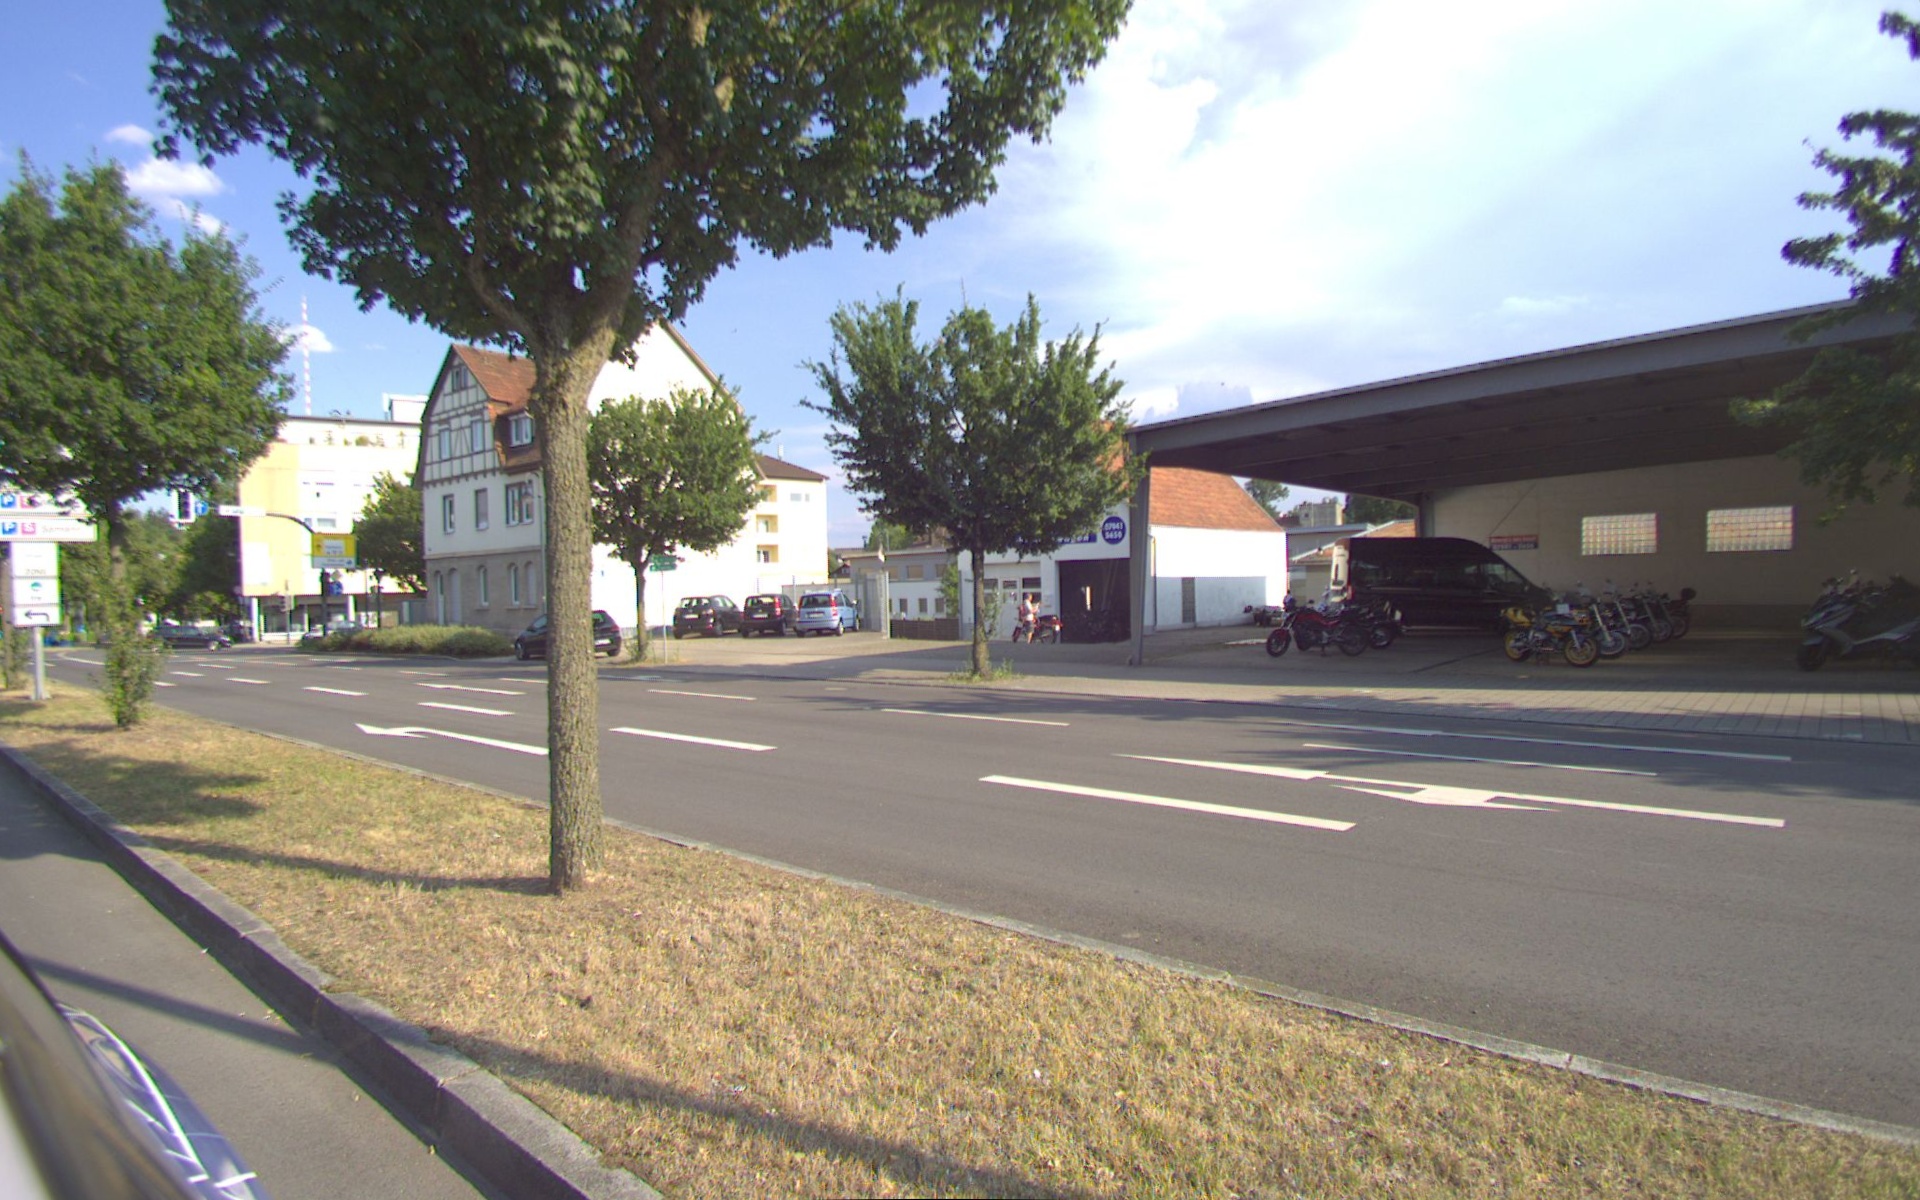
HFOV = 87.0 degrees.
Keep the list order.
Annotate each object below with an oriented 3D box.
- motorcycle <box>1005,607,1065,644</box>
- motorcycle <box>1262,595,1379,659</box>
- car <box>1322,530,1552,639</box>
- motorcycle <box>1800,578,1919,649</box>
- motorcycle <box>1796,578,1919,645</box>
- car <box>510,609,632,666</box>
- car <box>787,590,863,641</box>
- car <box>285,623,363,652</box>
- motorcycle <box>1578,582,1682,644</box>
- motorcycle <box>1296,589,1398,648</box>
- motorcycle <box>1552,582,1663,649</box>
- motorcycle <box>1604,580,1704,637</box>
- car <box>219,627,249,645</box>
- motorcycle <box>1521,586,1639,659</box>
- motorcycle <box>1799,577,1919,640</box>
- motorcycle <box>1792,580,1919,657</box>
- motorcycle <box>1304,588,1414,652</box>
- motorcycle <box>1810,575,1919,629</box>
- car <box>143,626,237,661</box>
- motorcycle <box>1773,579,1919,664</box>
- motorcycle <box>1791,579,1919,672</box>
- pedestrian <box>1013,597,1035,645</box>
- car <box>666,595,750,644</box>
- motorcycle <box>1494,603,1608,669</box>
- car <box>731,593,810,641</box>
[{"bbox_3d":[2.442,0.831,33.203,1.974,1.194,0.577,-1,0,41],"label":"motorcycle"},{"bbox_3d":[7.505,0.556,21.153,2.202,1.290,0.629,-1,0,11],"label":"motorcycle"},{"bbox_3d":[12.874,-0.387,27.621,5.221,2.773,1.996,-1,0,7],"label":"car"},{"bbox_3d":[18.054,0.262,19.982,2.103,1.306,0.628,-3,-1,17],"label":"motorcycle"},{"bbox_3d":[19.043,0.248,21.283,2.103,1.306,0.628,-3,-1,17],"label":"motorcycle"},{"bbox_3d":[-11.592,1.078,30.068,3.823,1.462,1.795,-1,2,42],"label":"car"},{"bbox_3d":[-4.674,0.513,35.669,1.797,1.512,3.819,-3,2,5],"label":"car"},{"bbox_3d":[-39.088,2.262,62.180,3.934,1.644,1.865,-1,0,-36],"label":"car"},{"bbox_3d":[15.546,0.293,23.573,0.621,1.347,2.269,-1,0,-9],"label":"motorcycle"},{"bbox_3d":[9.388,0.445,24.601,2.198,1.372,0.630,-1,0,5],"label":"motorcycle"},{"bbox_3d":[13.873,0.317,21.763,0.621,1.347,2.269,-1,0,-9],"label":"motorcycle"},{"bbox_3d":[17.299,0.210,25.297,0.621,1.347,2.269,-1,0,-9],"label":"motorcycle"},{"bbox_3d":[-75.782,3.759,105.642,1.752,1.706,4.013,-1,0,-24],"label":"car"},{"bbox_3d":[12.167,0.431,19.949,0.621,1.347,2.269,-1,0,-9],"label":"motorcycle"},{"bbox_3d":[20.237,0.197,22.638,2.103,1.306,0.628,-3,-1,17],"label":"motorcycle"},{"bbox_3d":[16.540,0.333,18.342,2.103,1.306,0.628,-3,-1,17],"label":"motorcycle"},{"bbox_3d":[8.965,0.444,22.797,2.198,1.372,0.630,-1,0,5],"label":"motorcycle"},{"bbox_3d":[23.743,0.061,26.516,2.103,1.306,0.628,-3,-1,17],"label":"motorcycle"},{"bbox_3d":[-40.925,2.275,53.891,3.934,1.644,1.865,-1,0,-36],"label":"car"},{"bbox_3d":[14.922,0.356,16.770,2.103,1.306,0.628,-3,-1,17],"label":"motorcycle"},{"bbox_3d":[13.870,0.371,15.109,2.103,1.306,0.628,-3,-1,17],"label":"motorcycle"},{"bbox_3d":[2.080,0.668,32.757,0.485,1.530,0.496,-1,0,41],"label":"pedestrian"},{"bbox_3d":[-9.314,0.684,37.691,1.797,1.512,3.819,-3,2,5],"label":"car"},{"bbox_3d":[10.540,0.614,18.145,0.621,1.095,2.038,-1,0,-8],"label":"motorcycle"},{"bbox_3d":[-6.913,0.579,37.299,1.797,1.512,3.819,-3,2,5],"label":"car"}]
